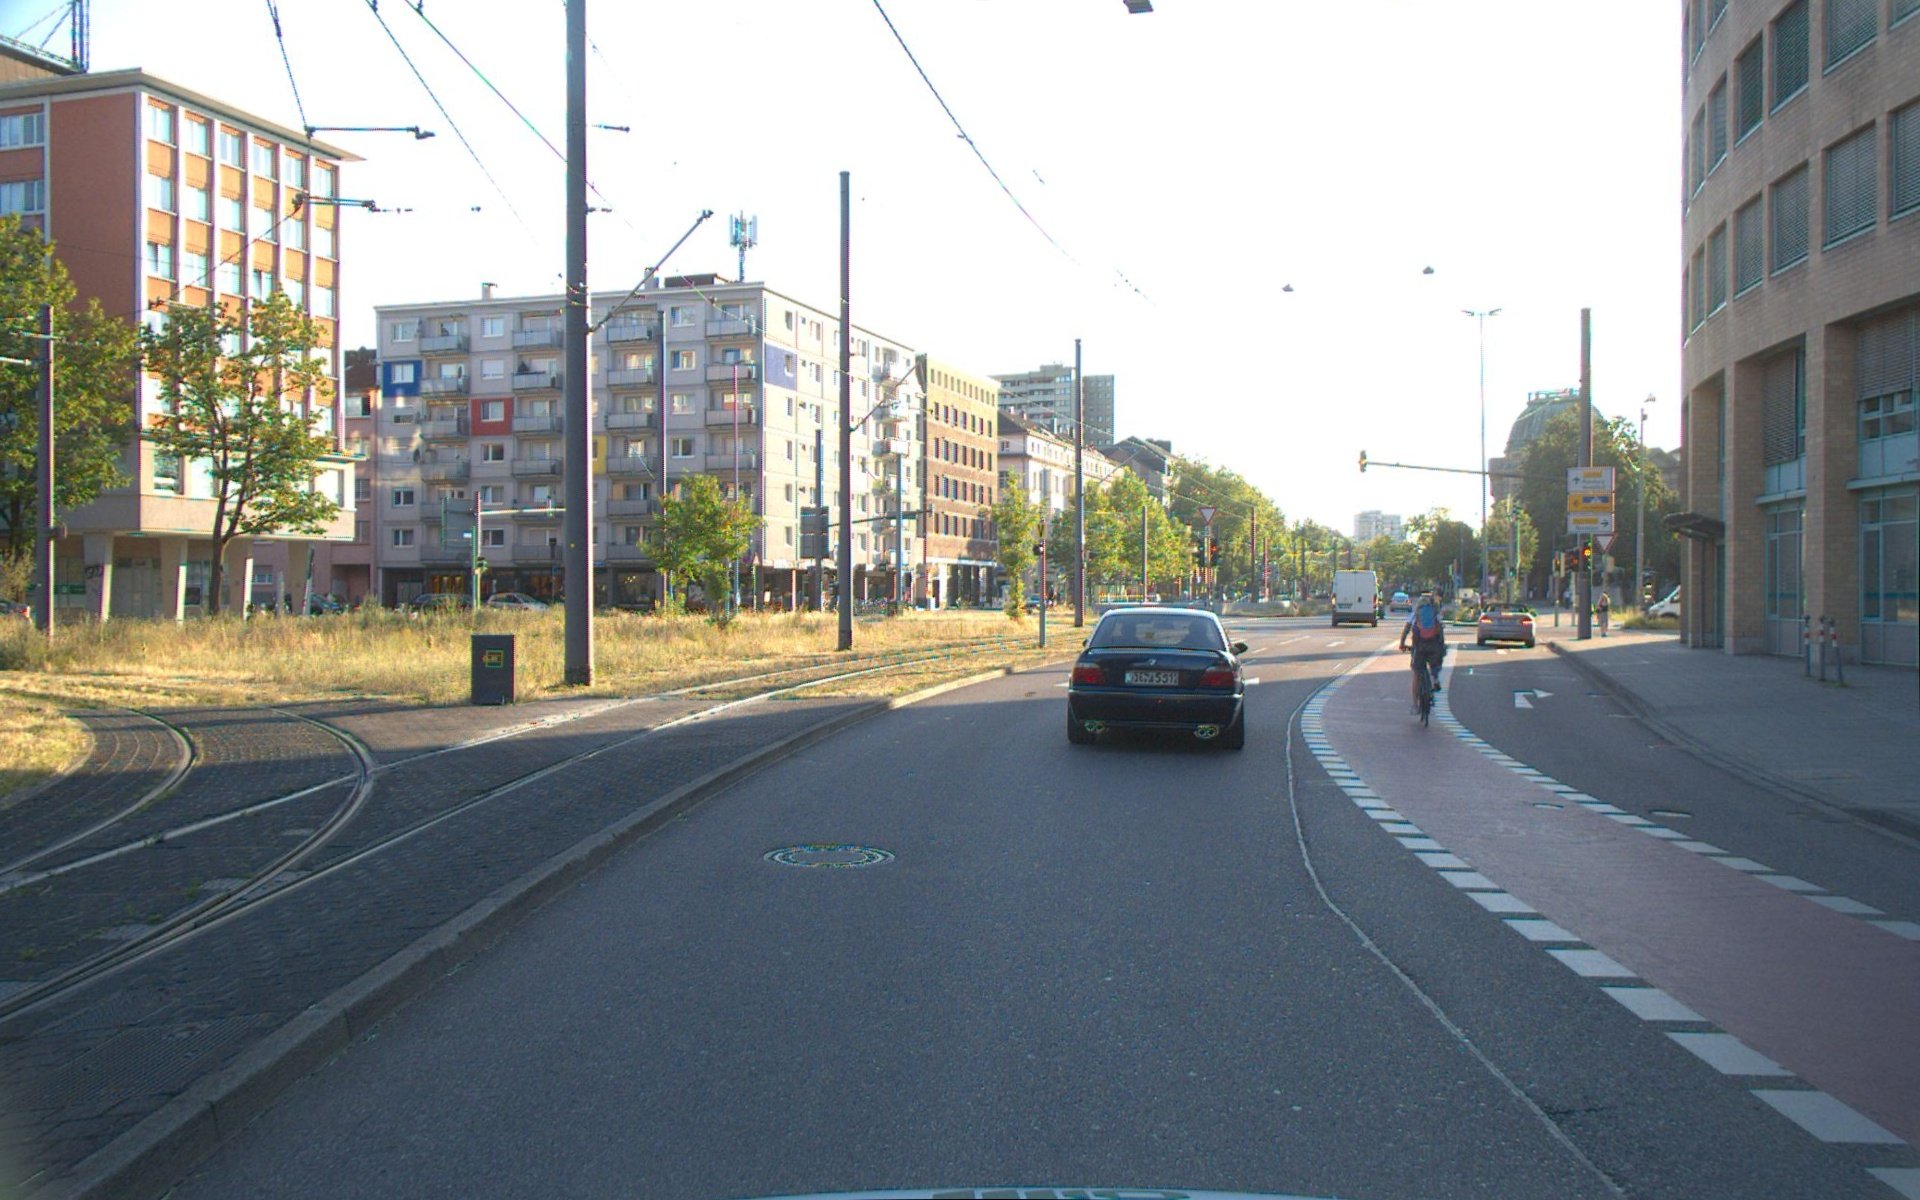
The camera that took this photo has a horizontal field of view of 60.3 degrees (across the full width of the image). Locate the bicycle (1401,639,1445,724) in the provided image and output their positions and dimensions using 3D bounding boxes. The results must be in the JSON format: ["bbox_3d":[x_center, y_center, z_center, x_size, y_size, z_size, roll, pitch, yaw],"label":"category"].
[{"bbox_3d":[6.035,1.042,21.570,0.504,0.971,1.777,2,1,15],"label":"bicycle"}]

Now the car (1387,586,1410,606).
[{"bbox_3d":[36.733,-0.335,138.687,1.756,1.593,4.004,0,1,14],"label":"car"}]

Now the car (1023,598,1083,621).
[{"bbox_3d":[6.415,0.656,113.765,3.902,1.459,1.720,1,2,9],"label":"car"}]

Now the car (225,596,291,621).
[{"bbox_3d":[-48.158,0.597,113.428,3.782,1.612,1.805,0,1,13],"label":"car"}]

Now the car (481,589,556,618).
[{"bbox_3d":[-25.630,0.175,95.999,3.782,1.612,1.805,0,1,13],"label":"car"}]

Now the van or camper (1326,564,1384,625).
[{"bbox_3d":[18.024,-0.278,75.354,2.215,2.670,4.505,0,1,18],"label":"van or camper"}]

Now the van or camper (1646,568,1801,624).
[{"bbox_3d":[38.268,-0.195,83.149,6.897,2.721,2.599,0,1,20],"label":"van or camper"}]

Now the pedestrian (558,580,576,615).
[{"bbox_3d":[-21.345,-0.119,89.772,0.589,1.879,0.823,0,1,18],"label":"pedestrian"}]

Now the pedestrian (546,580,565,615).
[{"bbox_3d":[-22.078,-0.135,90.244,0.690,1.884,0.737,0,1,18],"label":"pedestrian"}]

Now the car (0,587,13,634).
[{"bbox_3d":[-33.696,0.391,54.243,1.727,1.553,4.270,0,2,40],"label":"car"}]

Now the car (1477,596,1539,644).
[{"bbox_3d":[17.677,0.610,53.516,1.746,1.377,4.270,1,1,17],"label":"car"}]

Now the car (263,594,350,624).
[{"bbox_3d":[-37.031,0.491,93.792,4.188,1.612,1.991,0,1,13],"label":"car"}]

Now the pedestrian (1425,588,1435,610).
[{"bbox_3d":[33.184,-0.057,116.824,0.604,1.501,0.800,0,1,22],"label":"pedestrian"}]

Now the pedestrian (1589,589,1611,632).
[{"bbox_3d":[24.288,0.405,62.778,0.662,1.597,0.801,0,1,15],"label":"pedestrian"}]

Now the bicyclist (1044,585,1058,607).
[{"bbox_3d":[6.184,-0.281,111.913,0.836,1.467,0.663,1,2,-4],"label":"bicyclist"}]

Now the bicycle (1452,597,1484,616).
[{"bbox_3d":[28.213,0.348,91.860,1.692,0.987,0.610,1,1,17],"label":"bicycle"}]

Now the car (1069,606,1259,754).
[{"bbox_3d":[2.285,0.777,18.227,1.791,1.378,4.645,1,0,8],"label":"car"}]

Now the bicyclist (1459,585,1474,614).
[{"bbox_3d":[28.116,-0.016,91.880,0.781,1.599,0.663,0,1,17],"label":"bicyclist"}]

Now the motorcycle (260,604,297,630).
[{"bbox_3d":[-28.864,0.718,70.077,1.419,1.087,0.531,0,1,17],"label":"motorcycle"}]

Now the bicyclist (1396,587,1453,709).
[{"bbox_3d":[6.010,0.607,21.415,0.641,1.509,1.039,2,0,15],"label":"bicyclist"}]

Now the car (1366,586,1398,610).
[{"bbox_3d":[26.573,-0.149,104.071,1.701,1.410,4.002,0,1,18],"label":"car"}]

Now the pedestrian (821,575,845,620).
[{"bbox_3d":[-5.141,-0.113,67.158,0.708,1.793,0.647,0,1,39],"label":"pedestrian"}]

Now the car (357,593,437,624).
[{"bbox_3d":[-31.021,0.454,91.173,3.782,1.612,1.805,0,1,13],"label":"car"}]
